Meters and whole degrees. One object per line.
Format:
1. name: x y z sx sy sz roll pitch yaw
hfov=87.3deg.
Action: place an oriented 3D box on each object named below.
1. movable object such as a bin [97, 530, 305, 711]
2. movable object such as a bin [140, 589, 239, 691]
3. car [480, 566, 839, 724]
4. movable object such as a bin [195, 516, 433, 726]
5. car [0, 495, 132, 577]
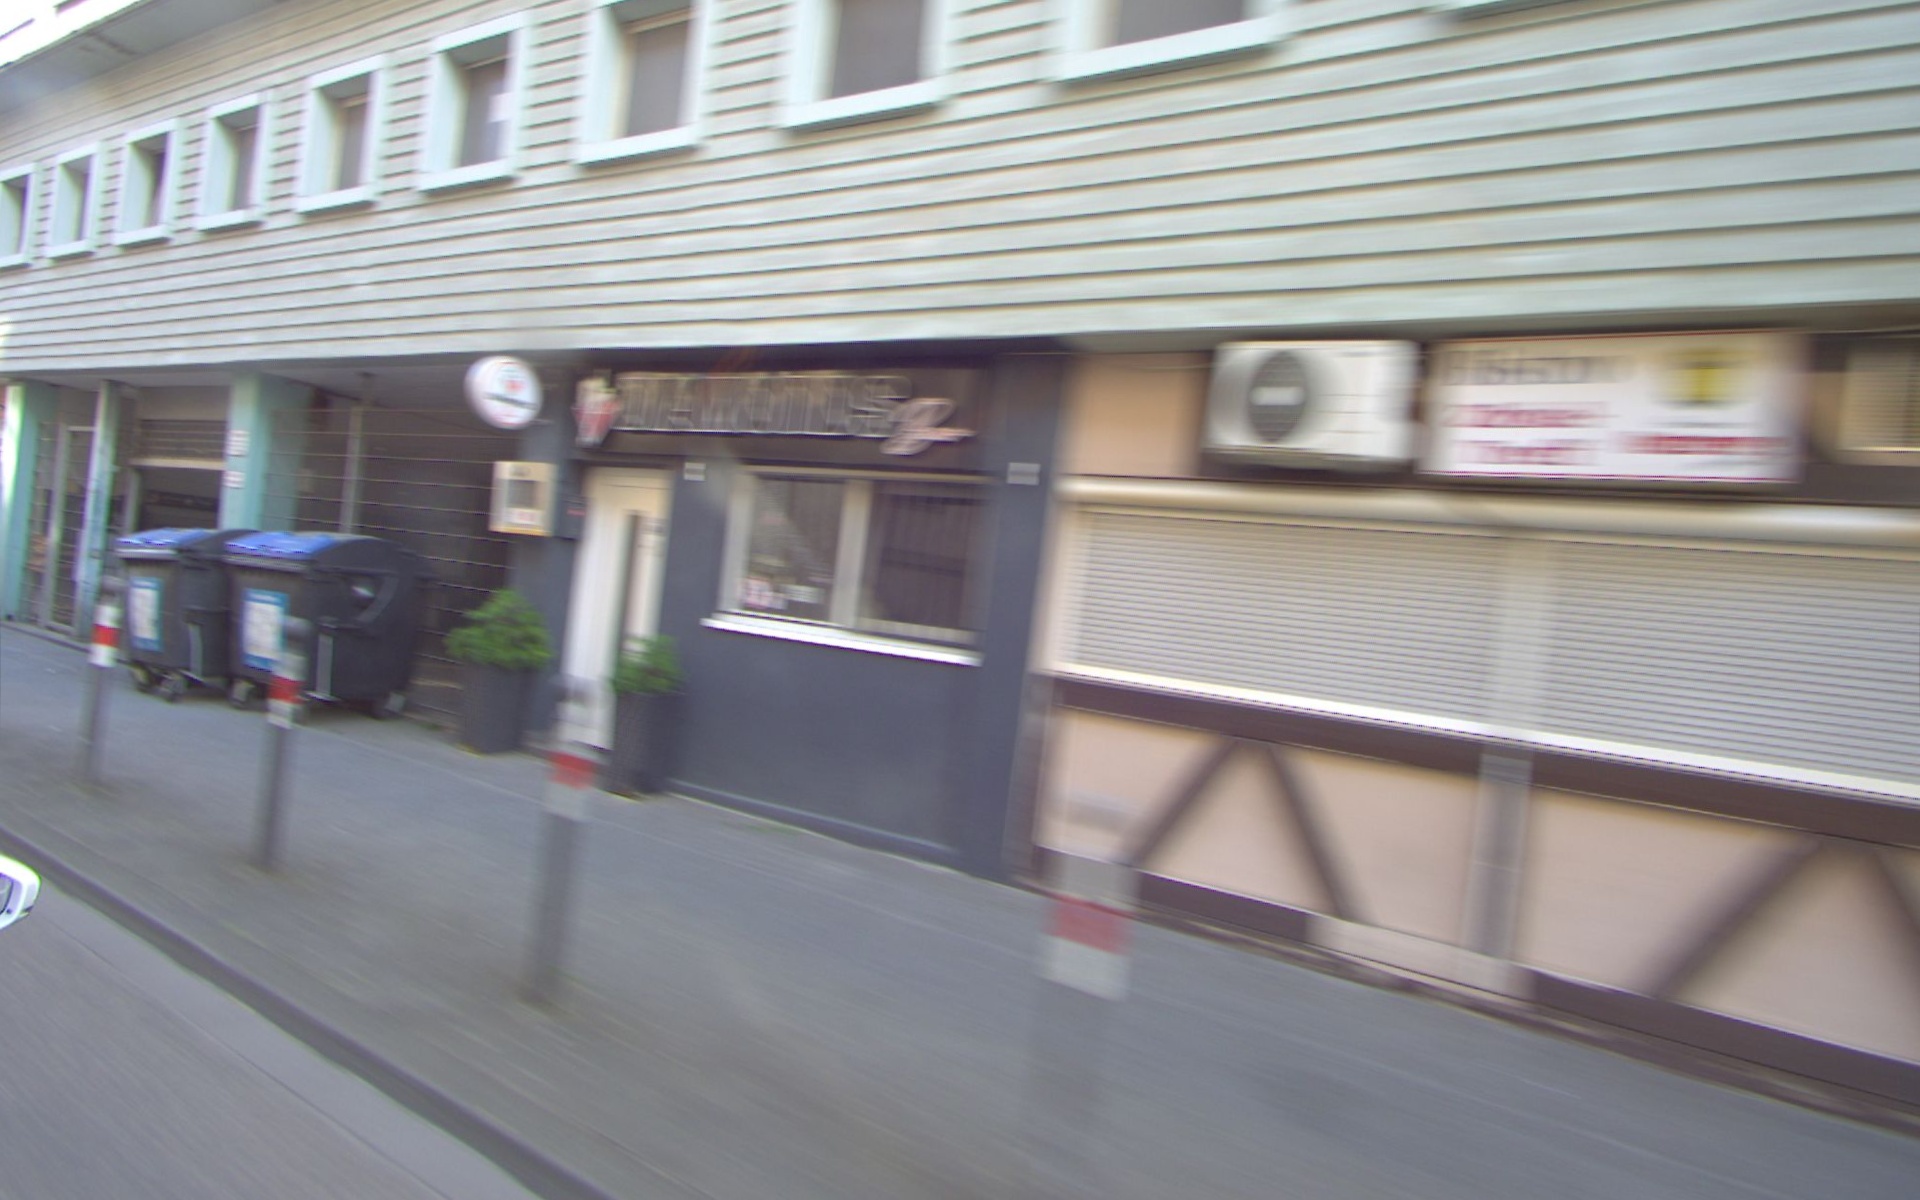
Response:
1. movable object such as a bin: -6.609 0.164 8.774 1.299 1.402 0.982 5 1 31
2. movable object such as a bin: -7.324 0.376 9.568 0.514 0.911 0.557 5 1 31
3. car: -3.861 0.497 12.829 4.206 1.452 1.830 5 1 27
4. movable object such as a bin: -5.227 0.145 8.141 1.526 1.499 0.982 5 1 31
5. car: -20.391 -1.479 21.201 1.833 1.500 4.085 7 0 28
